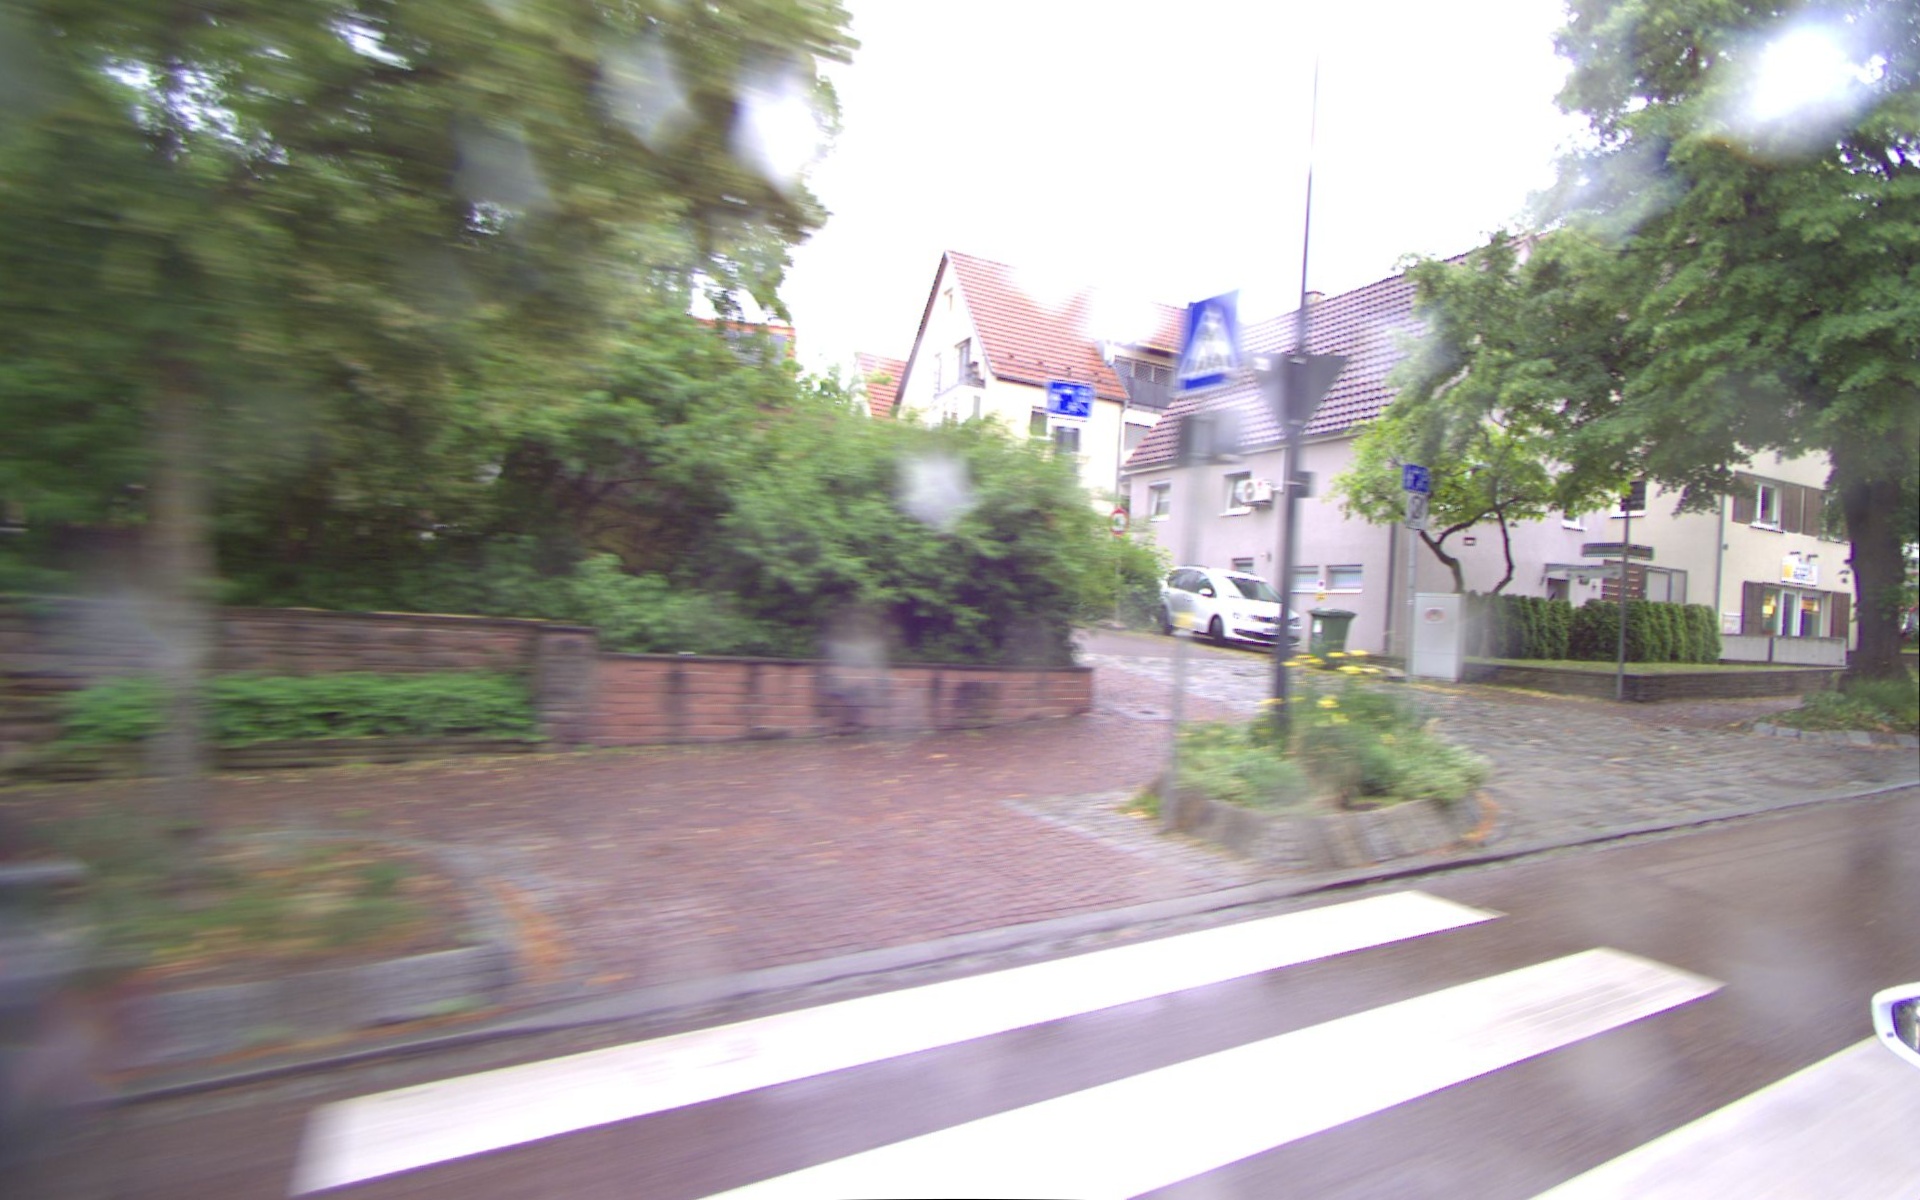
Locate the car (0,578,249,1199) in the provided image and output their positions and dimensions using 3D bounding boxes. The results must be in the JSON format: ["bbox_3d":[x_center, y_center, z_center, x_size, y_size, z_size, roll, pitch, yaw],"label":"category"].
[{"bbox_3d":[-3.409,0.662,0.863,4.354,1.404,1.847,1,2,-29],"label":"car"}]

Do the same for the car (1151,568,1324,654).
[{"bbox_3d":[6.154,0.193,22.885,1.965,1.710,4.434,2,1,-12],"label":"car"}]

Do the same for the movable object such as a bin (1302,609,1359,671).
[{"bbox_3d":[6.582,0.706,17.860,0.727,1.048,0.572,2,0,-17],"label":"movable object such as a bin"}]
